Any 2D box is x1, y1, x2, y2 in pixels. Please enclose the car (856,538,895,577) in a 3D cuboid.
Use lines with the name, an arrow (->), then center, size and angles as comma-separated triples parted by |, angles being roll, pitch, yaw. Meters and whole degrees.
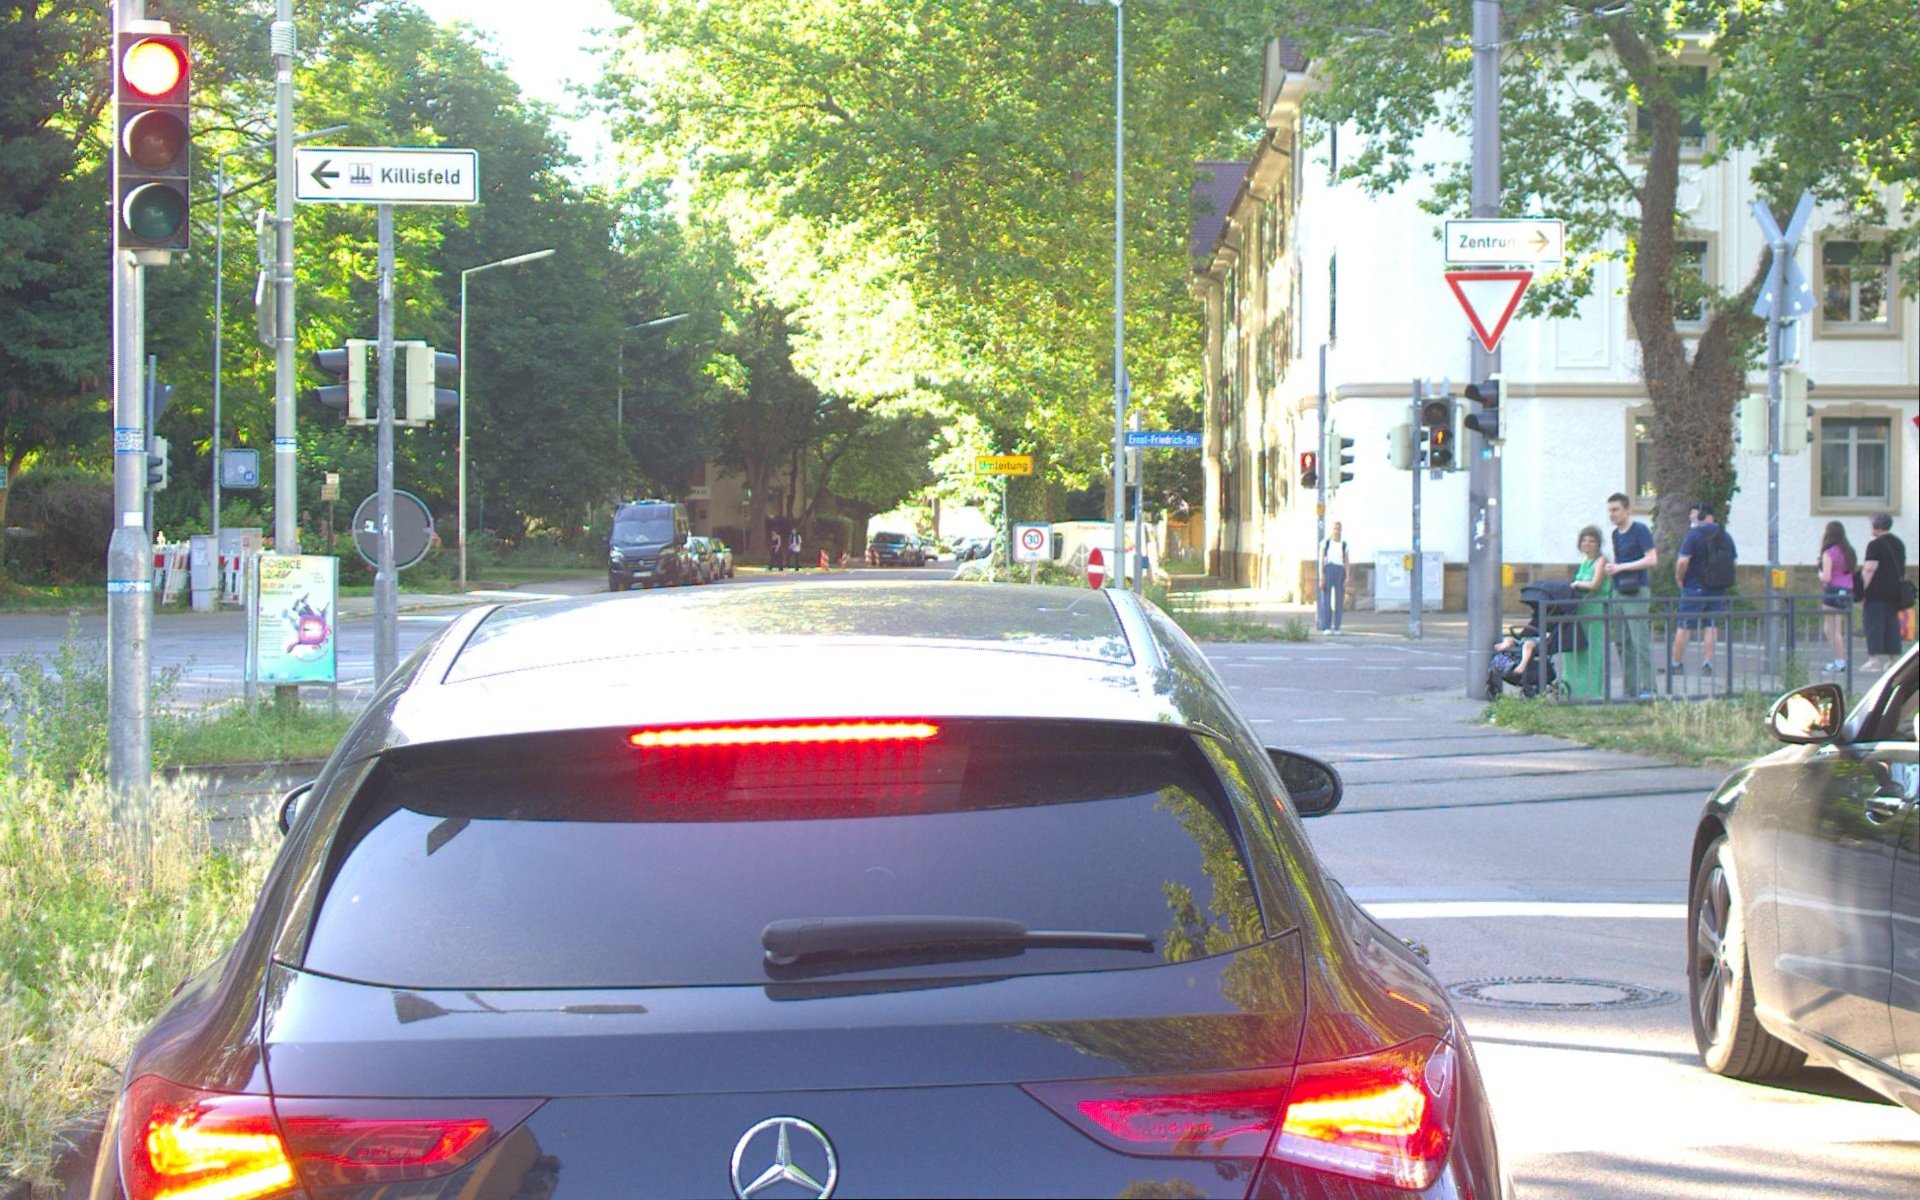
car -> -3.895, -1.965, 158.464 | 1.733, 1.759, 4.019 | 1, 1, -1

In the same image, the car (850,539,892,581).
car -> -3.873, -1.743, 150.382 | 1.733, 1.759, 4.019 | 1, 1, -1

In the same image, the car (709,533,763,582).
car -> -8.224, -1.561, 126.402 | 1.733, 1.759, 3.971 | 1, 1, -1

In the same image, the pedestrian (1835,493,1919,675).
pedestrian -> 9.831, -0.177, 36.668 | 0.705, 1.911, 0.839 | 1, 0, -4

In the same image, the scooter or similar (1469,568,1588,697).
scooter or similar -> 4.969, 0.277, 30.079 | 0.828, 1.101, 0.809 | 1, 0, -6

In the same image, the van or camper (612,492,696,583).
van or camper -> -8.853, -1.797, 99.738 | 1.993, 2.532, 4.651 | 1, 1, 0

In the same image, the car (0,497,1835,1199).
car -> -0.084, 0.621, 5.364 | 1.889, 1.445, 4.001 | 1, 3, 1

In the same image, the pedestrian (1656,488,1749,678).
pedestrian -> 7.618, -0.176, 35.312 | 0.705, 1.911, 0.839 | 1, 0, -4

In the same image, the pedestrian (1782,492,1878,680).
pedestrian -> 9.020, -0.148, 35.668 | 0.705, 1.911, 0.839 | 1, 0, -4

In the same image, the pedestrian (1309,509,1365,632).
pedestrian -> 5.917, -0.467, 53.986 | 0.705, 1.911, 0.839 | 1, 0, -4

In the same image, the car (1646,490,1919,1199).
car -> 2.844, 0.571, 7.280 | 1.889, 1.485, 4.382 | 1, 3, 0

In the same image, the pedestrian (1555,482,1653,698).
pedestrian -> 5.782, -0.093, 30.889 | 0.682, 1.911, 0.707 | 1, 0, -4

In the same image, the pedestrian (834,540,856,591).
pedestrian -> -4.363, -1.320, 130.026 | 0.705, 1.911, 0.839 | 1, 0, -10

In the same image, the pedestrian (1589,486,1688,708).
pedestrian -> 5.940, -0.031, 30.118 | 0.682, 1.911, 0.707 | 1, 0, -2

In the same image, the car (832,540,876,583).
car -> -4.477, -1.642, 145.562 | 1.733, 1.759, 4.019 | 1, 1, -1
